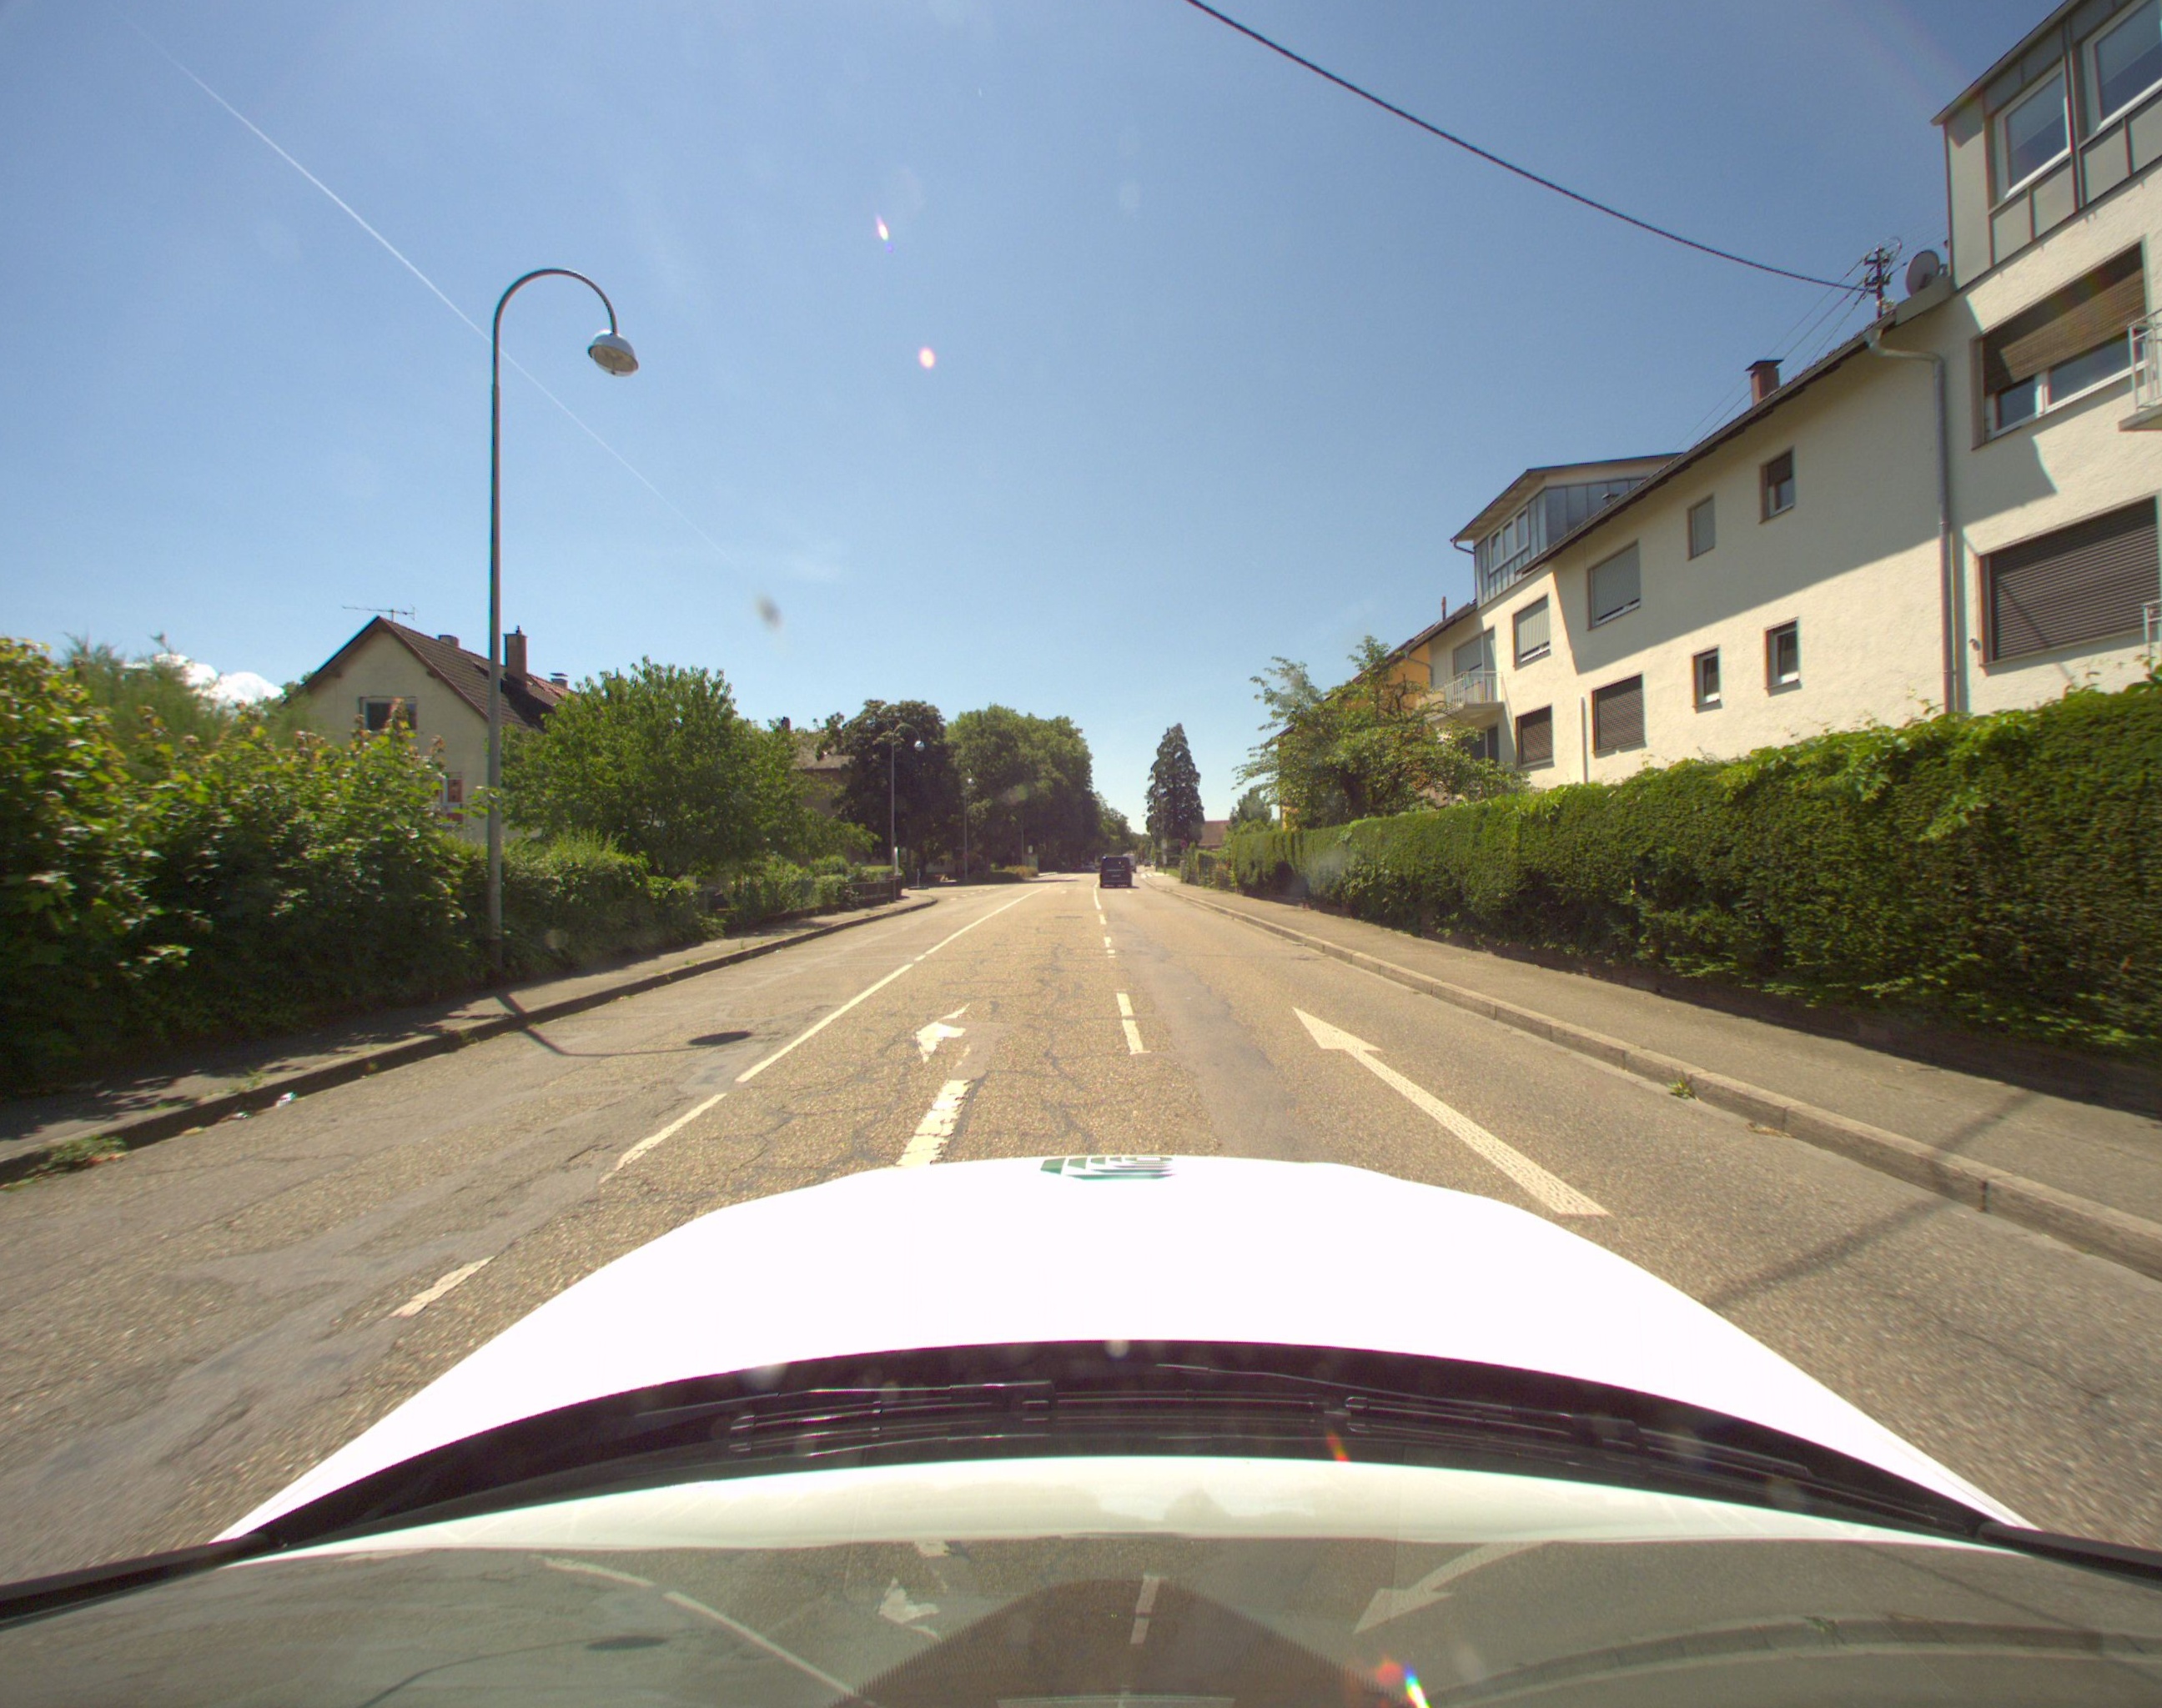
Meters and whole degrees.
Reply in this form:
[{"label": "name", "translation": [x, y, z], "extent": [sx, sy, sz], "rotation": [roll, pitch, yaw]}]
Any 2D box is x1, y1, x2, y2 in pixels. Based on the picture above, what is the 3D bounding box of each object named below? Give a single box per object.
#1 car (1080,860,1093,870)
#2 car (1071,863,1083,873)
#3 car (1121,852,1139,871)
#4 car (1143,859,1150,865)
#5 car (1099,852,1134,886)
[{"label": "car", "translation": [0.929, 1.755, 128.508], "extent": [1.682, 1.460, 3.646], "rotation": [0, 0, 6]}, {"label": "car", "translation": [-0.618, 2.035, 121.353], "extent": [1.544, 1.450, 3.693], "rotation": [0, -1, 3]}, {"label": "car", "translation": [6.917, 1.021, 113.947], "extent": [2.108, 2.678, 5.673], "rotation": [0, 0, 7]}, {"label": "car", "translation": [18.161, 2.226, 226.597], "extent": [1.850, 1.643, 4.002], "rotation": [0, 0, 2]}, {"label": "car", "translation": [2.059, 0.836, 47.762], "extent": [1.986, 1.893, 4.002], "rotation": [0, 0, 2]}]
